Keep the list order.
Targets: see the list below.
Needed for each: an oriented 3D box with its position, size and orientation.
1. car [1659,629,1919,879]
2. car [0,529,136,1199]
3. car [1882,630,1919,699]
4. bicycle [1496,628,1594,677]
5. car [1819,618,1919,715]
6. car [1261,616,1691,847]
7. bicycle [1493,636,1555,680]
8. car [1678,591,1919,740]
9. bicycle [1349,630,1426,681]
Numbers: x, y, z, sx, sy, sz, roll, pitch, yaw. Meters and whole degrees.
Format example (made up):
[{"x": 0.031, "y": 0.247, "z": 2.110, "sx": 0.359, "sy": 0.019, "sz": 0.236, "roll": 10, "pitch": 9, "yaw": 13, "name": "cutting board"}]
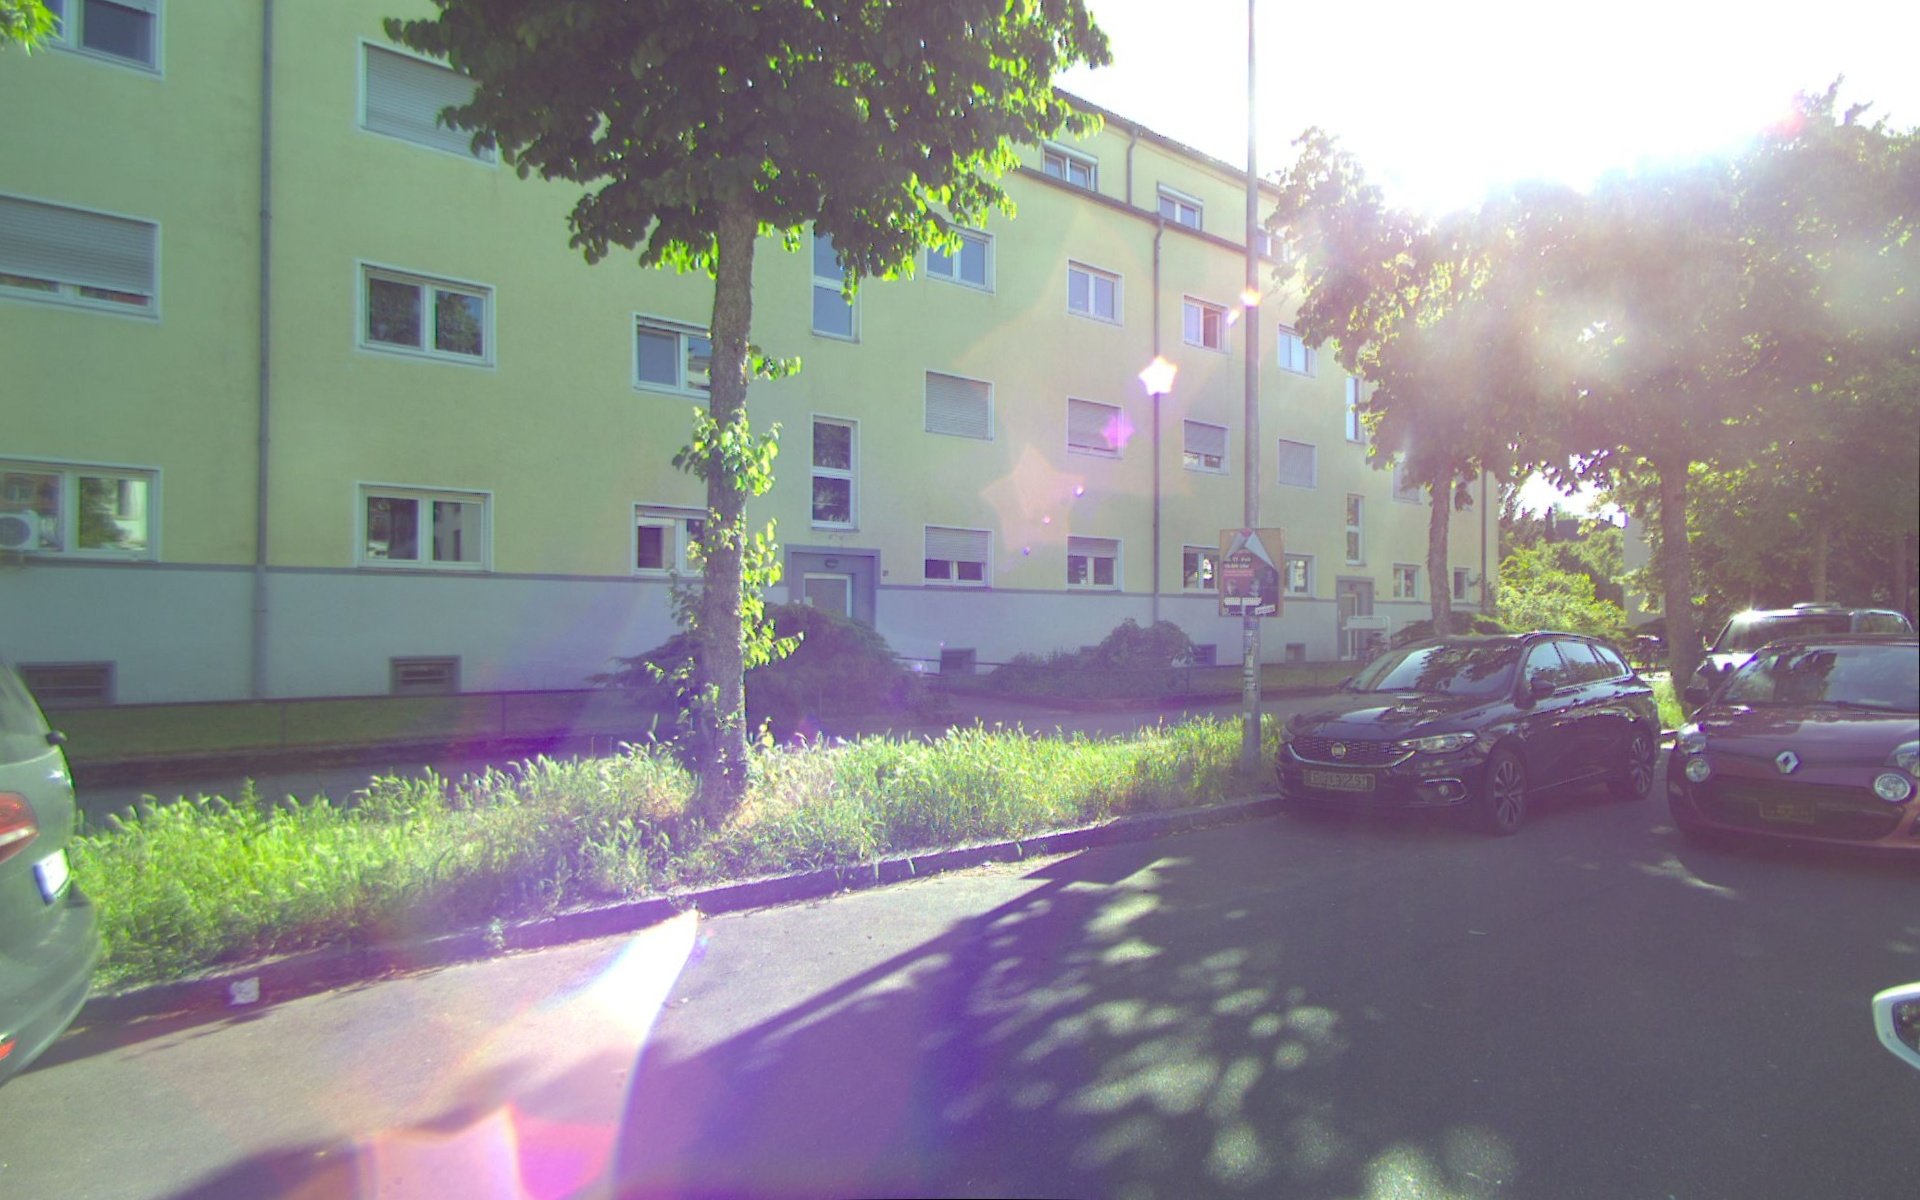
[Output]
[{"x": 6.540, "y": 0.939, "z": 7.251, "sx": 3.147, "sy": 1.445, "sz": 1.495, "roll": 1, "pitch": -2, "yaw": -36, "name": "car"}, {"x": -4.641, "y": 0.704, "z": 1.686, "sx": 4.931, "sy": 1.702, "sz": 1.836, "roll": 1, "pitch": -4, "yaw": -38, "name": "car"}, {"x": 21.598, "y": 1.362, "z": 21.850, "sx": 4.022, "sy": 1.446, "sz": 1.600, "roll": 1, "pitch": -3, "yaw": -38, "name": "car"}, {"x": 15.378, "y": 1.356, "z": 26.431, "sx": 2.122, "sy": 1.224, "sz": 0.686, "roll": -2, "pitch": -2, "yaw": 43, "name": "bicycle"}, {"x": 17.443, "y": 1.172, "z": 18.626, "sx": 4.194, "sy": 1.632, "sz": 1.599, "roll": 1, "pitch": -3, "yaw": -40, "name": "car"}, {"x": 4.751, "y": 0.982, "z": 8.903, "sx": 4.735, "sy": 1.568, "sz": 1.496, "roll": 1, "pitch": -4, "yaw": -38, "name": "car"}, {"x": 13.547, "y": 1.376, "z": 24.111, "sx": 1.910, "sy": 1.005, "sz": 0.590, "roll": 1, "pitch": -2, "yaw": -37, "name": "bicycle"}, {"x": 12.968, "y": 0.924, "z": 15.294, "sx": 5.093, "sy": 1.929, "sz": 1.814, "roll": 1, "pitch": -3, "yaw": -37, "name": "car"}, {"x": 8.785, "y": 1.113, "z": 20.627, "sx": 1.910, "sy": 1.005, "sz": 0.590, "roll": 1, "pitch": -2, "yaw": -37, "name": "bicycle"}]
